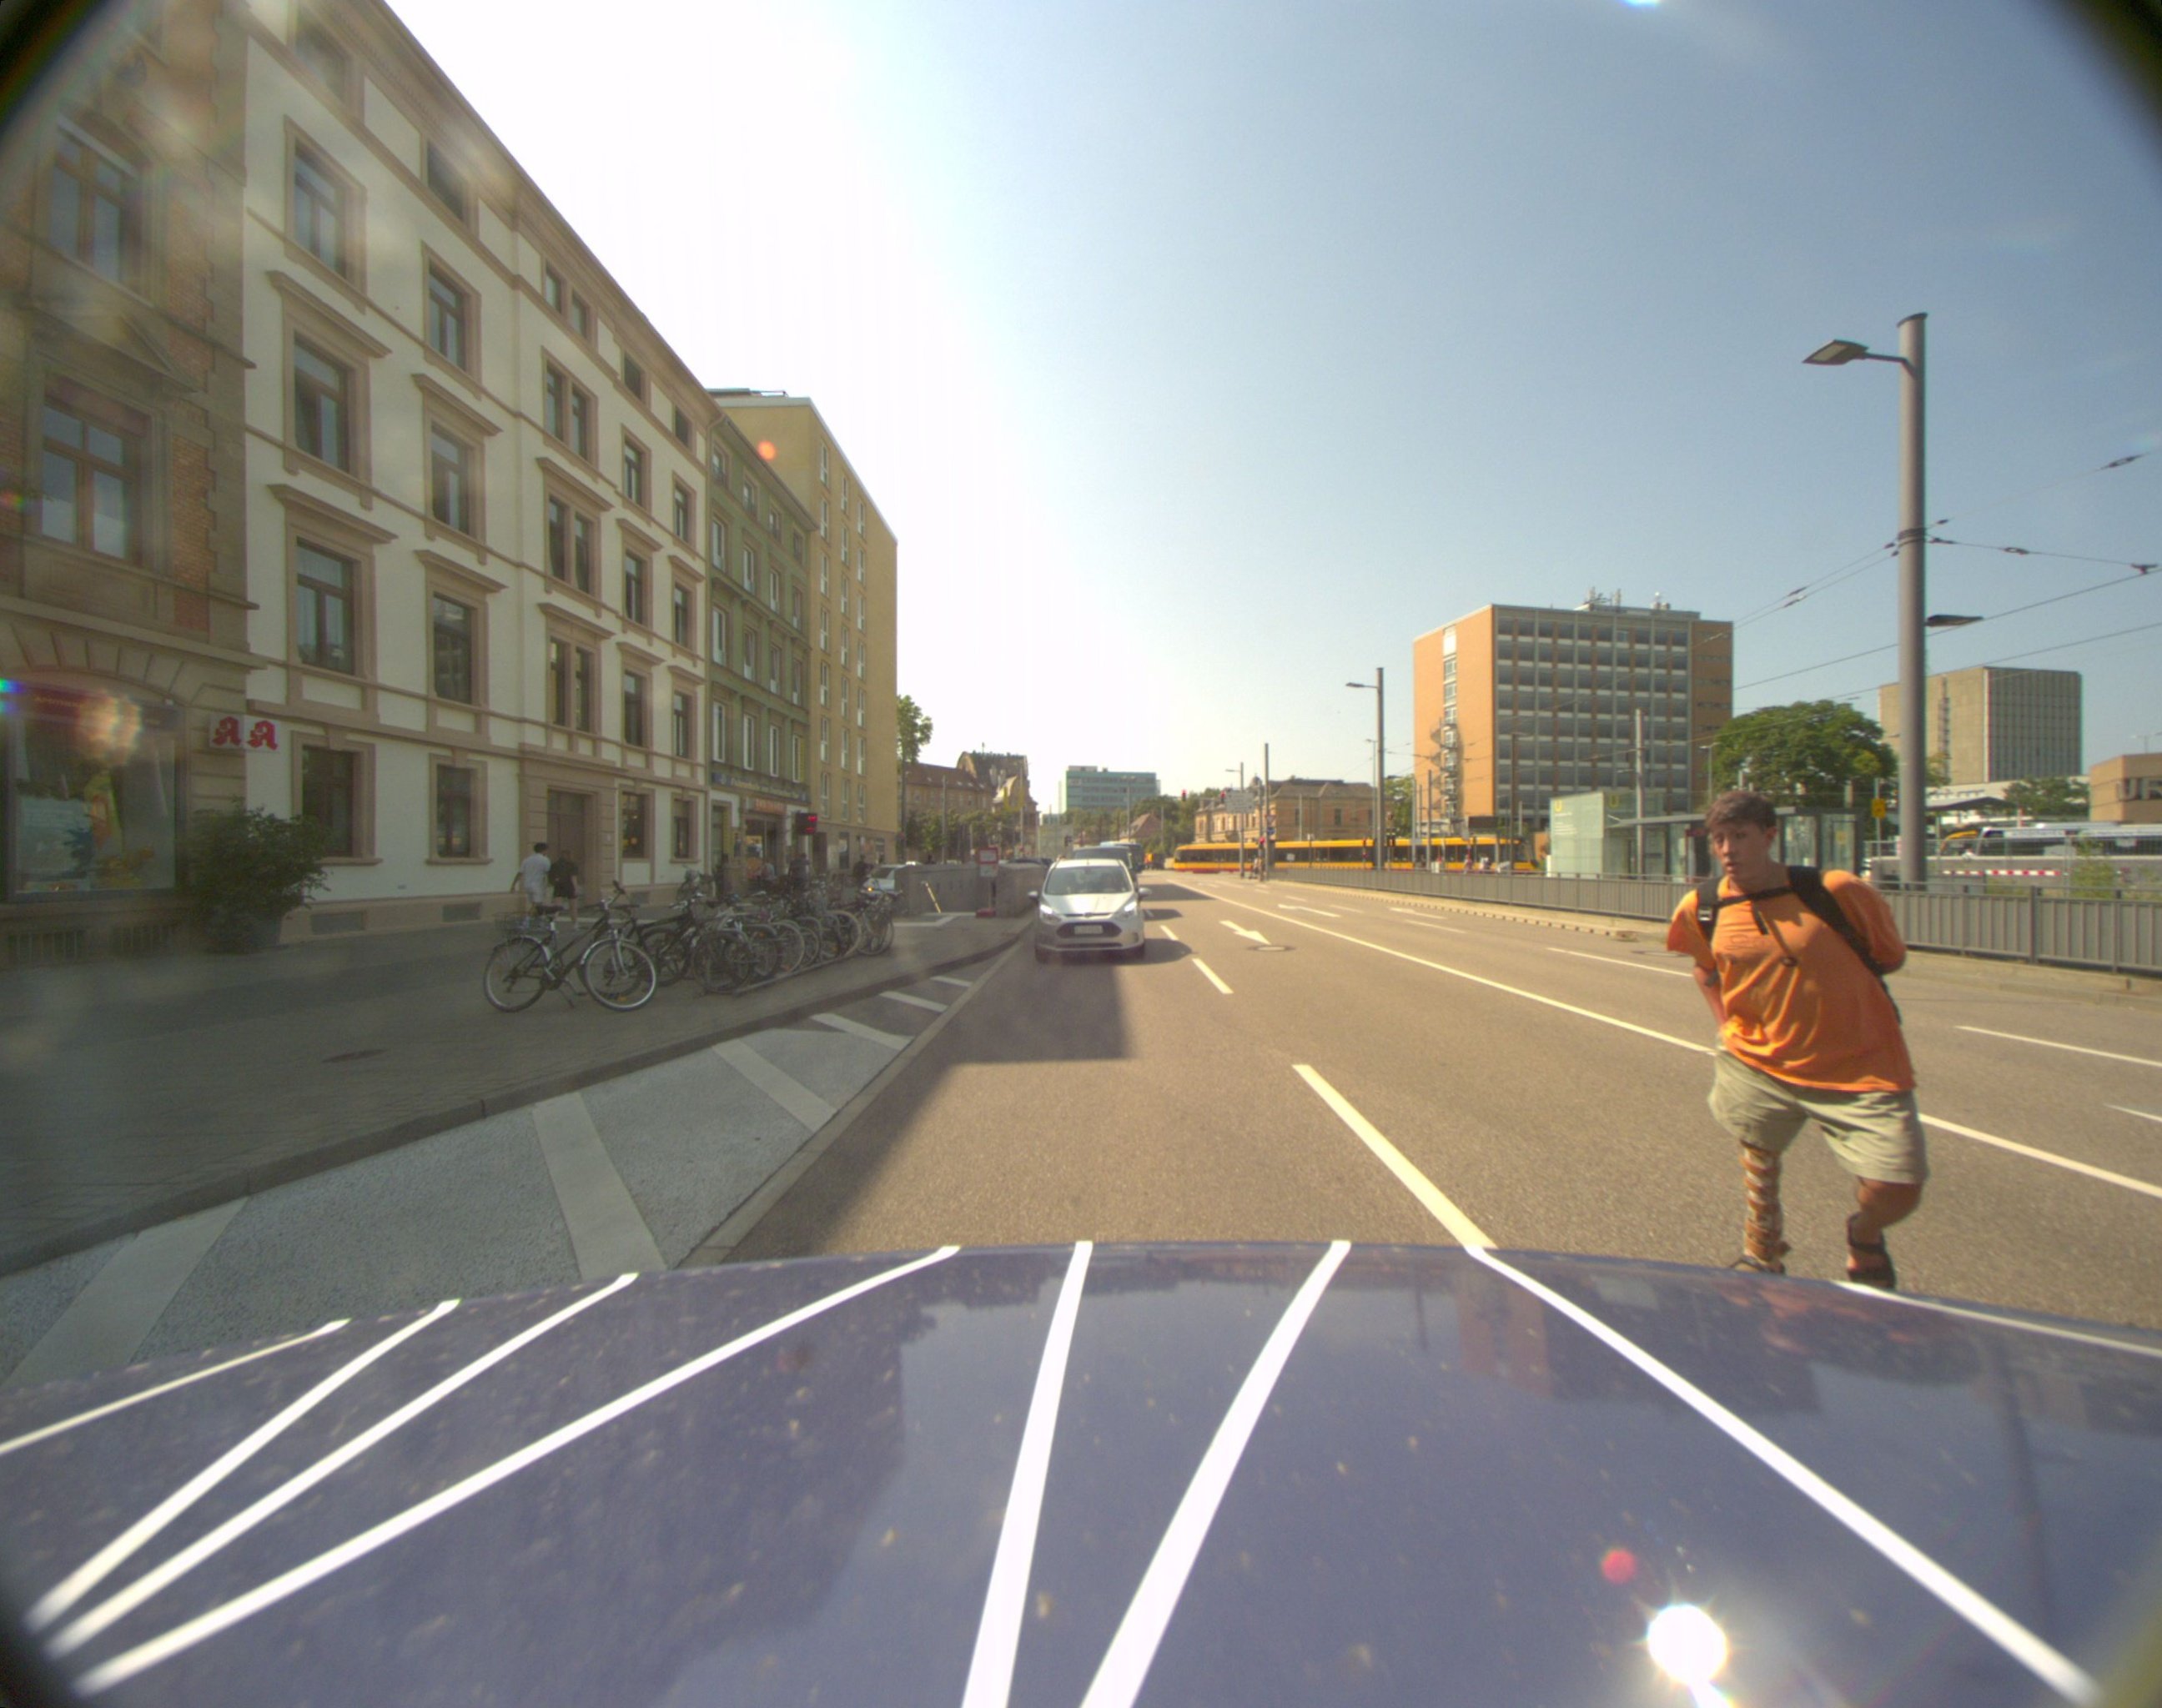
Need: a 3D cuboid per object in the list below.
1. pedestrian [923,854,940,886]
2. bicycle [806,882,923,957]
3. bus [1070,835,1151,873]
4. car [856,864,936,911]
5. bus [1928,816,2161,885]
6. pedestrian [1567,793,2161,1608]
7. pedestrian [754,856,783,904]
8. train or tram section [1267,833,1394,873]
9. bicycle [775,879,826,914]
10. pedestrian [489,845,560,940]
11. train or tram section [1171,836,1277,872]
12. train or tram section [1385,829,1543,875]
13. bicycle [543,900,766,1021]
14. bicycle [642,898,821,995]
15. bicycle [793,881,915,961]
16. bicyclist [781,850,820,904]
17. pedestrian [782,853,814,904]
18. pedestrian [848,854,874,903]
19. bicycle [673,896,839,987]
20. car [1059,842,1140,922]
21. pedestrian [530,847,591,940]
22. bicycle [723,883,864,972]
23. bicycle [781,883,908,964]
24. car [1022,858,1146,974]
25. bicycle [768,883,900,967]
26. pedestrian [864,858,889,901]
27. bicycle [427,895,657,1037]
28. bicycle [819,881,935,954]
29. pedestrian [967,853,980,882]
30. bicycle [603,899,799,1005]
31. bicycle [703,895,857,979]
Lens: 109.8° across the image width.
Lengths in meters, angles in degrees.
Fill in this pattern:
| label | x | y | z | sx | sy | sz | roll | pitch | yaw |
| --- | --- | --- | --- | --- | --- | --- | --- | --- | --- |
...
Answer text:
| label | x | y | z | sx | sy | sz | roll | pitch | yaw |
| --- | --- | --- | --- | --- | --- | --- | --- | --- | --- |
| pedestrian | -7.574 | 0.814 | 38.517 | 0.645 | 1.619 | 0.797 | 1 | 0 | 1 |
| bicycle | -3.681 | 1.101 | 12.956 | 1.841 | 1.196 | 0.434 | -2 | 0 | 1 |
| bus | 2.435 | 0.035 | 70.300 | 2.924 | 3.119 | 12.324 | -2 | 0 | -20 |
| car | -6.400 | 1.114 | 26.661 | 1.666 | 1.418 | 3.934 | 2 | 0 | 2 |
| bus | 52.030 | -0.203 | 37.553 | 3.357 | 3.275 | 13.371 | -2 | 0 | -45 |
| pedestrian | 2.369 | 0.727 | 2.280 | 1.240 | 1.730 | 0.965 | -2 | 0 | -21 |
| pedestrian | -10.884 | 0.897 | 26.487 | 0.645 | 1.619 | 0.797 | 1 | 0 | 3 |
| train or tram section | 24.431 | -0.059 | 75.302 | 12.331 | 3.743 | 2.004 | 0 | 0 | 43 |
| bicycle | -8.405 | 1.263 | 22.863 | 0.721 | 0.948 | 2.001 | -1 | 0 | 2 |
| pedestrian | -10.857 | 0.730 | 14.850 | 0.727 | 1.793 | 0.928 | 1 | 0 | -3 |
| train or tram section | 15.532 | -0.005 | 83.829 | 12.331 | 3.743 | 2.004 | 0 | 0 | 43 |
| train or tram section | 33.189 | -0.122 | 66.652 | 12.331 | 3.743 | 2.004 | 0 | 0 | 44 |
| bicycle | -4.236 | 1.046 | 7.633 | 1.807 | 1.069 | 0.699 | -2 | 0 | 1 |
| bicycle | -4.199 | 1.102 | 9.206 | 1.841 | 1.047 | 0.657 | -2 | 0 | 1 |
| bicycle | -3.710 | 1.090 | 12.478 | 1.841 | 1.212 | 0.434 | -2 | 0 | 1 |
| bicyclist | -8.415 | 0.671 | 22.852 | 0.721 | 1.577 | 1.103 | -1 | 0 | 2 |
| pedestrian | -9.793 | 0.820 | 26.279 | 0.772 | 1.724 | 0.881 | 1 | 0 | -1 |
| pedestrian | -7.973 | 0.876 | 27.564 | 0.688 | 1.748 | 0.797 | 1 | 0 | 3 |
| bicycle | -4.186 | 1.118 | 9.872 | 1.841 | 1.054 | 0.657 | -2 | 0 | 1 |
| car | 0.513 | 0.701 | 21.529 | 1.998 | 1.953 | 4.816 | -1 | 0 | 1 |
| pedestrian | -10.189 | 0.759 | 14.896 | 0.645 | 1.761 | 0.796 | 1 | 0 | -3 |
| bicycle | -4.206 | 1.067 | 11.182 | 1.841 | 1.196 | 0.549 | -2 | 0 | 1 |
| bicycle | -3.724 | 1.084 | 12.016 | 1.841 | 1.196 | 0.434 | -2 | 0 | 1 |
| car | 0.098 | 0.914 | 13.003 | 1.728 | 1.579 | 4.000 | -3 | 0 | 1 |
| bicycle | -3.751 | 1.073 | 11.580 | 1.841 | 1.196 | 0.434 | -2 | 0 | 1 |
| pedestrian | -7.853 | 0.967 | 29.206 | 0.645 | 1.619 | 0.797 | 1 | 0 | 10 |
| bicycle | -4.935 | 1.008 | 7.025 | 1.607 | 1.178 | 0.690 | -2 | 0 | 2 |
| bicycle | -3.617 | 1.116 | 13.555 | 1.841 | 1.196 | 0.637 | -2 | 0 | 2 |
| pedestrian | -6.212 | 0.768 | 43.949 | 0.645 | 1.619 | 0.797 | 1 | 0 | 2 |
| bicycle | -4.216 | 1.081 | 8.507 | 1.841 | 1.054 | 0.657 | -2 | 0 | 1 |
| bicycle | -4.154 | 1.133 | 10.563 | 1.841 | 1.050 | 0.657 | -2 | 0 | 1 |
